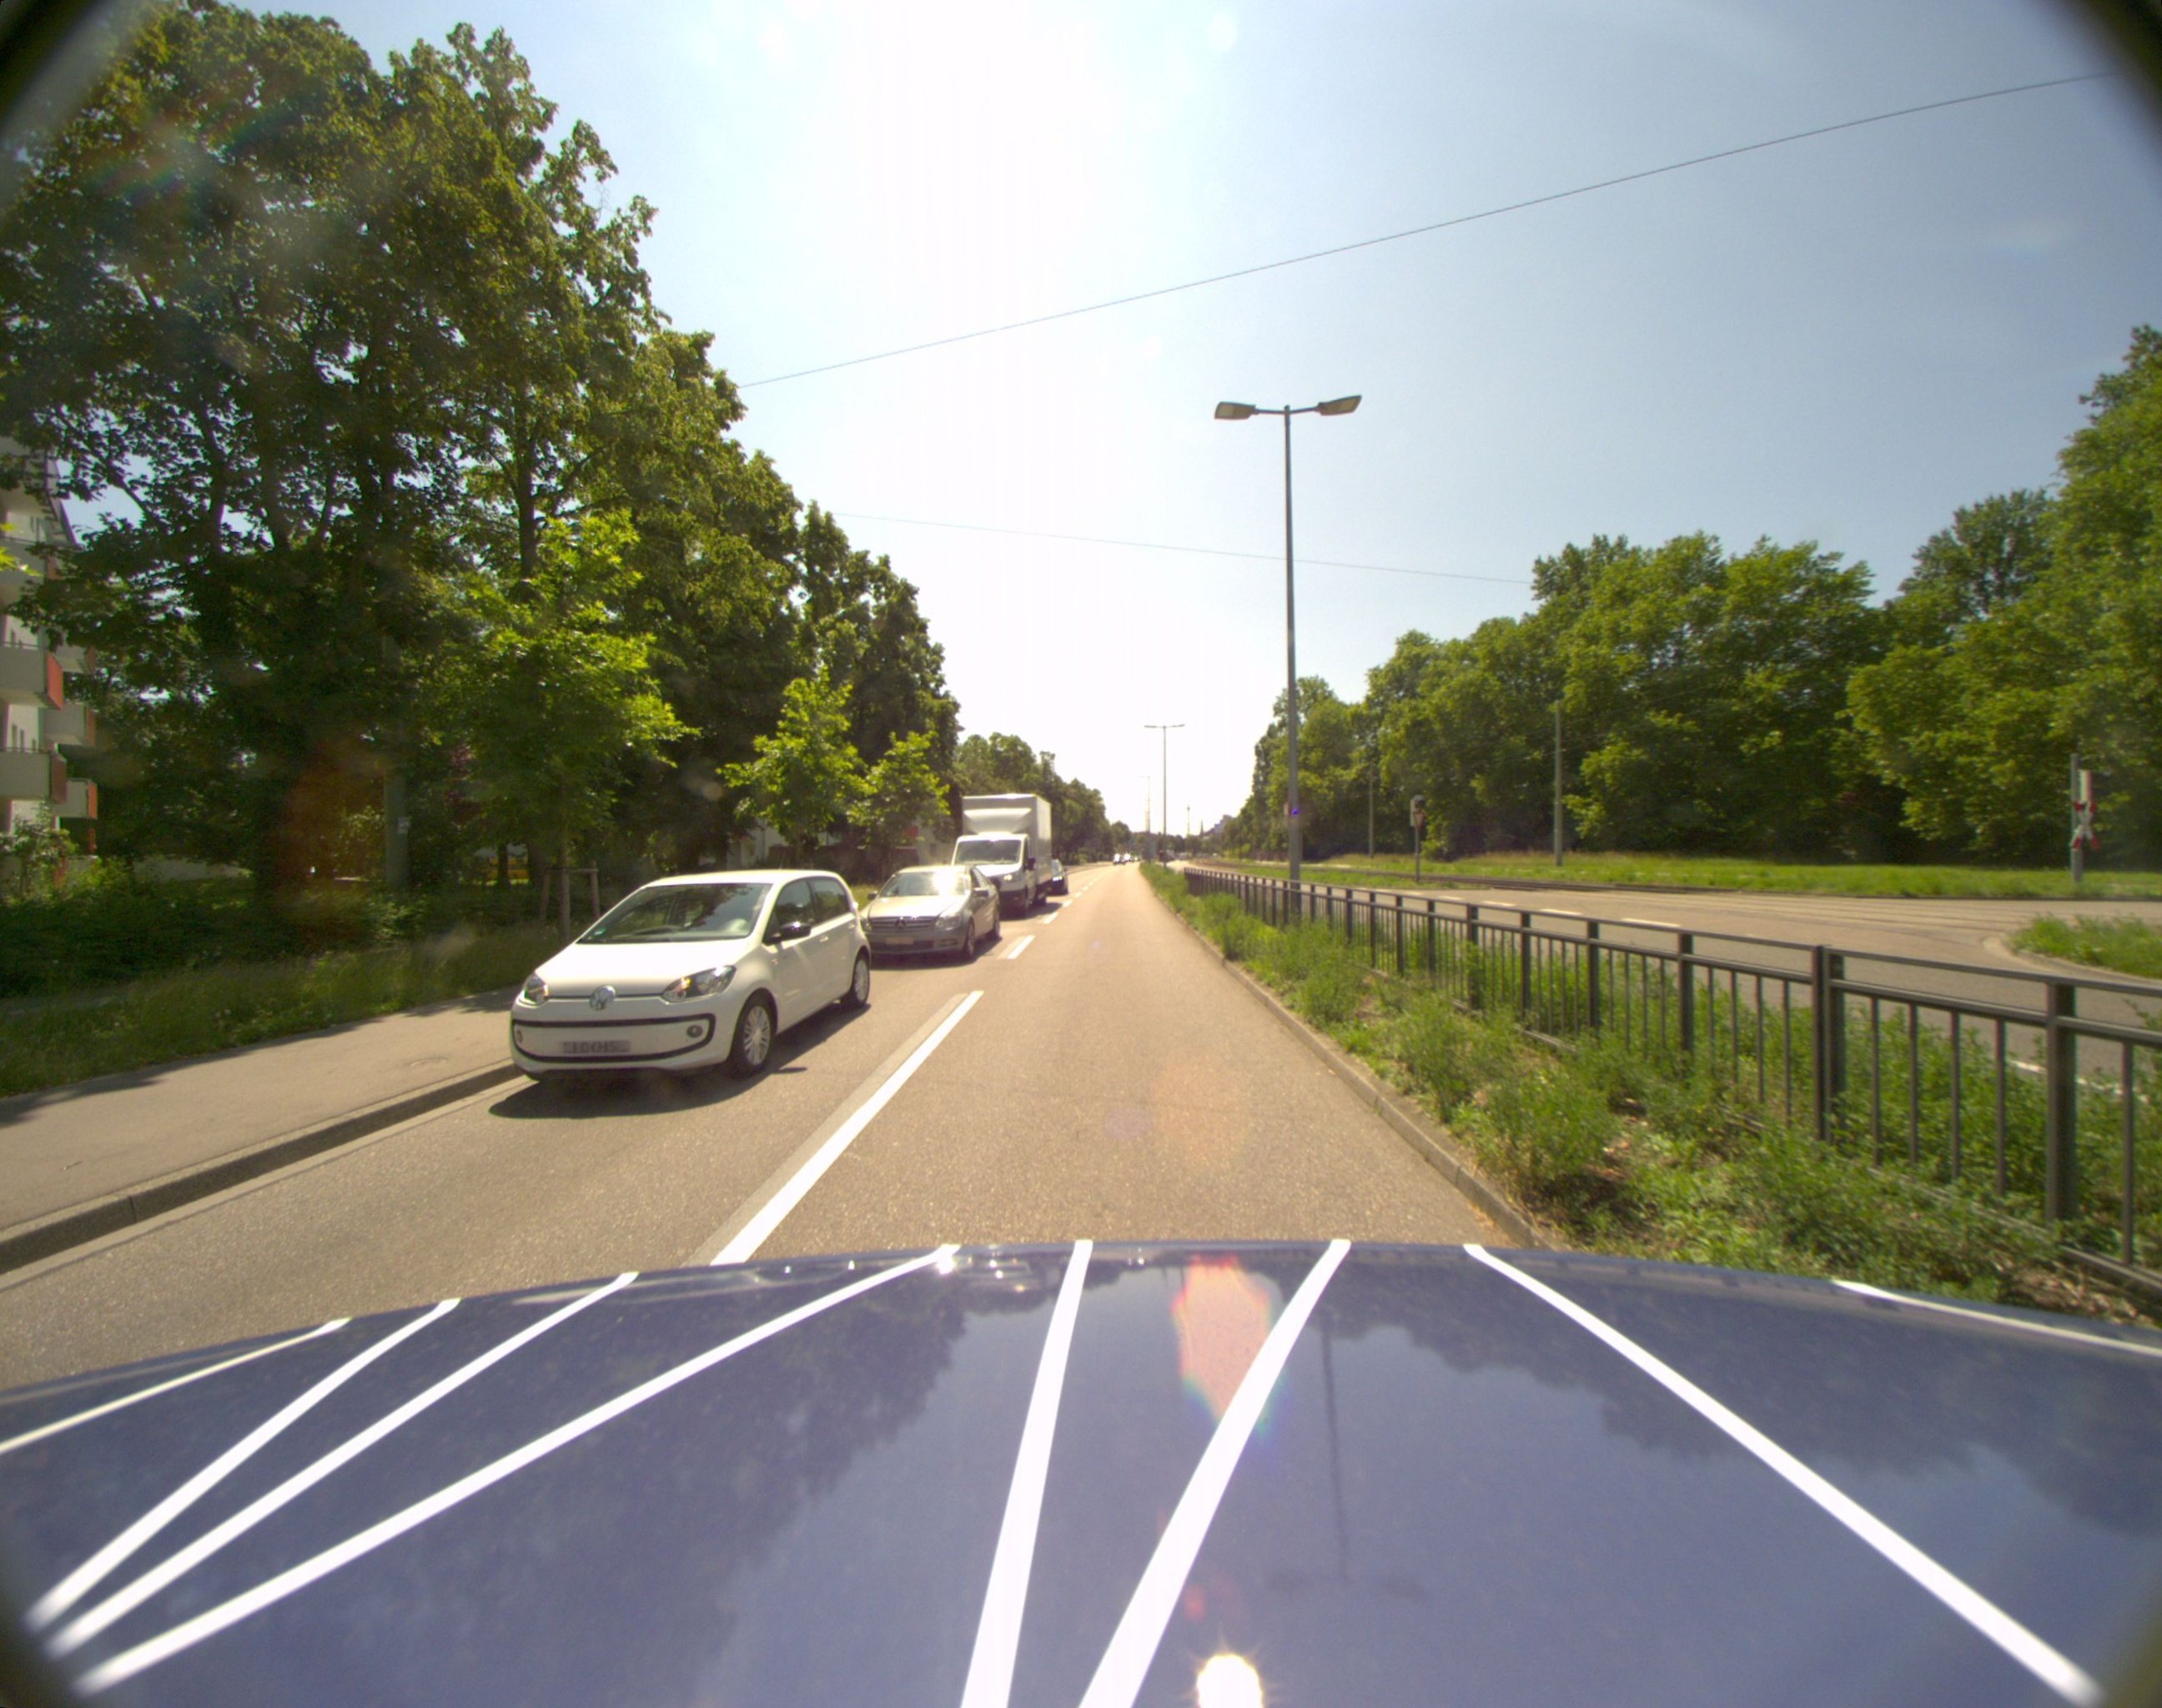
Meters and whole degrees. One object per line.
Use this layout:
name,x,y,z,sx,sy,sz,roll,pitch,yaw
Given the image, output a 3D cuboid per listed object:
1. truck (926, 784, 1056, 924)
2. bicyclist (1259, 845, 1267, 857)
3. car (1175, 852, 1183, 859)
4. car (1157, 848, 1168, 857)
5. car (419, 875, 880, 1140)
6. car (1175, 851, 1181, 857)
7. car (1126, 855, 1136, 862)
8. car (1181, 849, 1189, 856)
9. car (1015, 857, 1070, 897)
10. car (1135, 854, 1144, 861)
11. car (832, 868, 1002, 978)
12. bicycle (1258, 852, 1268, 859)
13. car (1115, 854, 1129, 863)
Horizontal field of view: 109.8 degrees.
truck,-2.298,-0.007,22.273,2.433,3.326,7.923,-1,0,3
bicyclist,28.099,-0.423,117.272,0.862,1.796,1.118,-1,1,1
car,26.648,0.318,207.232,1.998,1.847,4.001,-1,0,5
car,16.512,-0.252,154.015,1.997,1.847,4.002,-1,0,7
car,-3.126,0.989,6.513,1.730,1.470,3.771,-1,0,1
car,30.161,-0.143,236.114,1.997,1.847,4.002,-1,0,7
car,10.817,1.039,165.209,1.997,1.499,4.002,-1,0,7
car,27.446,-0.342,200.860,1.998,1.847,4.001,-1,0,5
car,-1.516,0.916,31.531,1.998,1.499,4.000,-1,0,1
car,14.848,0.901,193.598,1.997,1.499,4.002,-1,0,7
car,-2.474,0.986,12.534,1.840,1.400,4.087,-1,0,1
bicycle,28.086,0.232,117.336,0.862,1.155,2.787,-1,0,1
car,6.794,0.765,126.181,1.997,1.499,4.002,-1,0,7
